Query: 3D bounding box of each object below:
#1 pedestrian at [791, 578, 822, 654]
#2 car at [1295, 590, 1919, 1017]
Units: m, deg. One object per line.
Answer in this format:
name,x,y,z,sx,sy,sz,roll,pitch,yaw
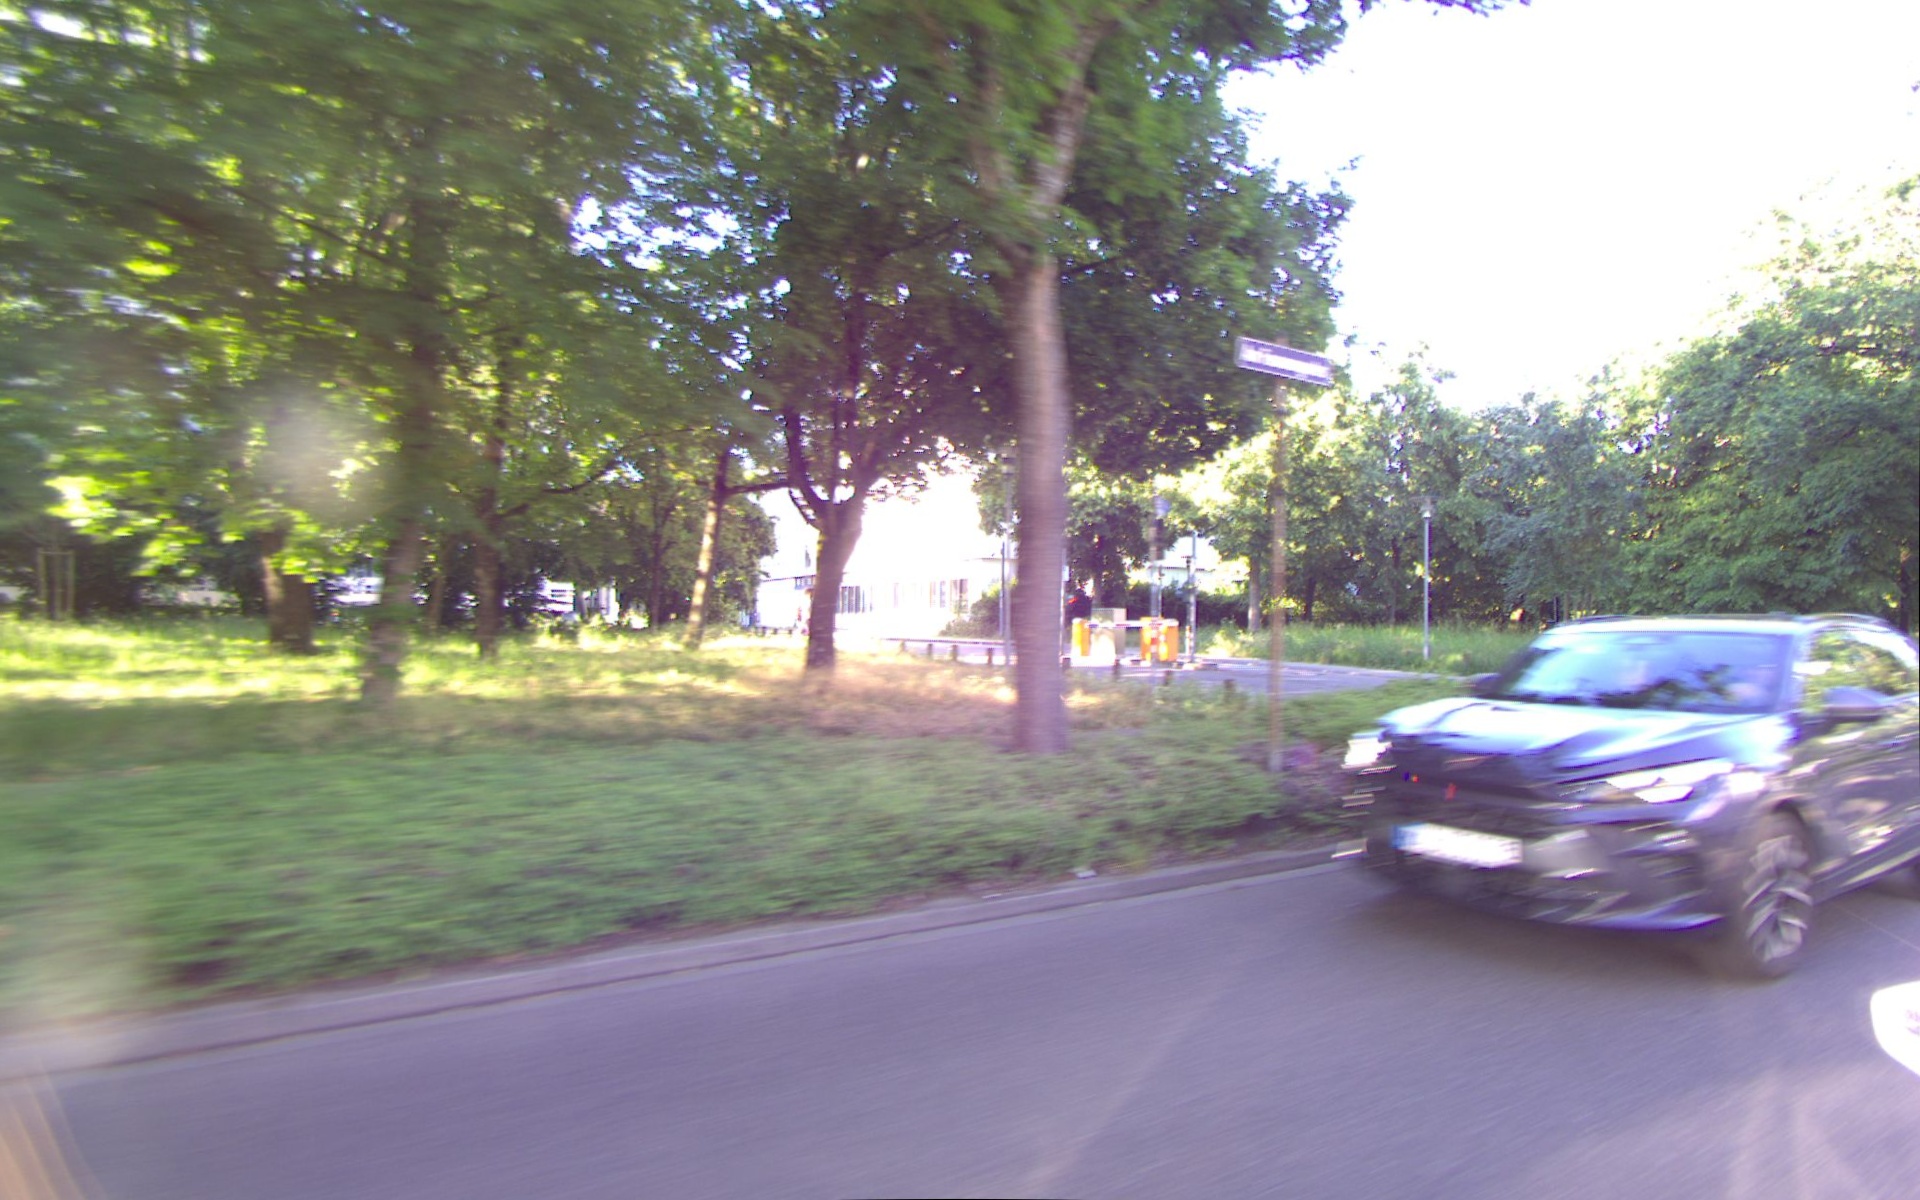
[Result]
pedestrian,-4.166,0.423,27.250,0.583,2.040,0.753,1,0,-28
car,4.084,0.823,5.710,4.287,1.599,1.834,1,-2,-32
